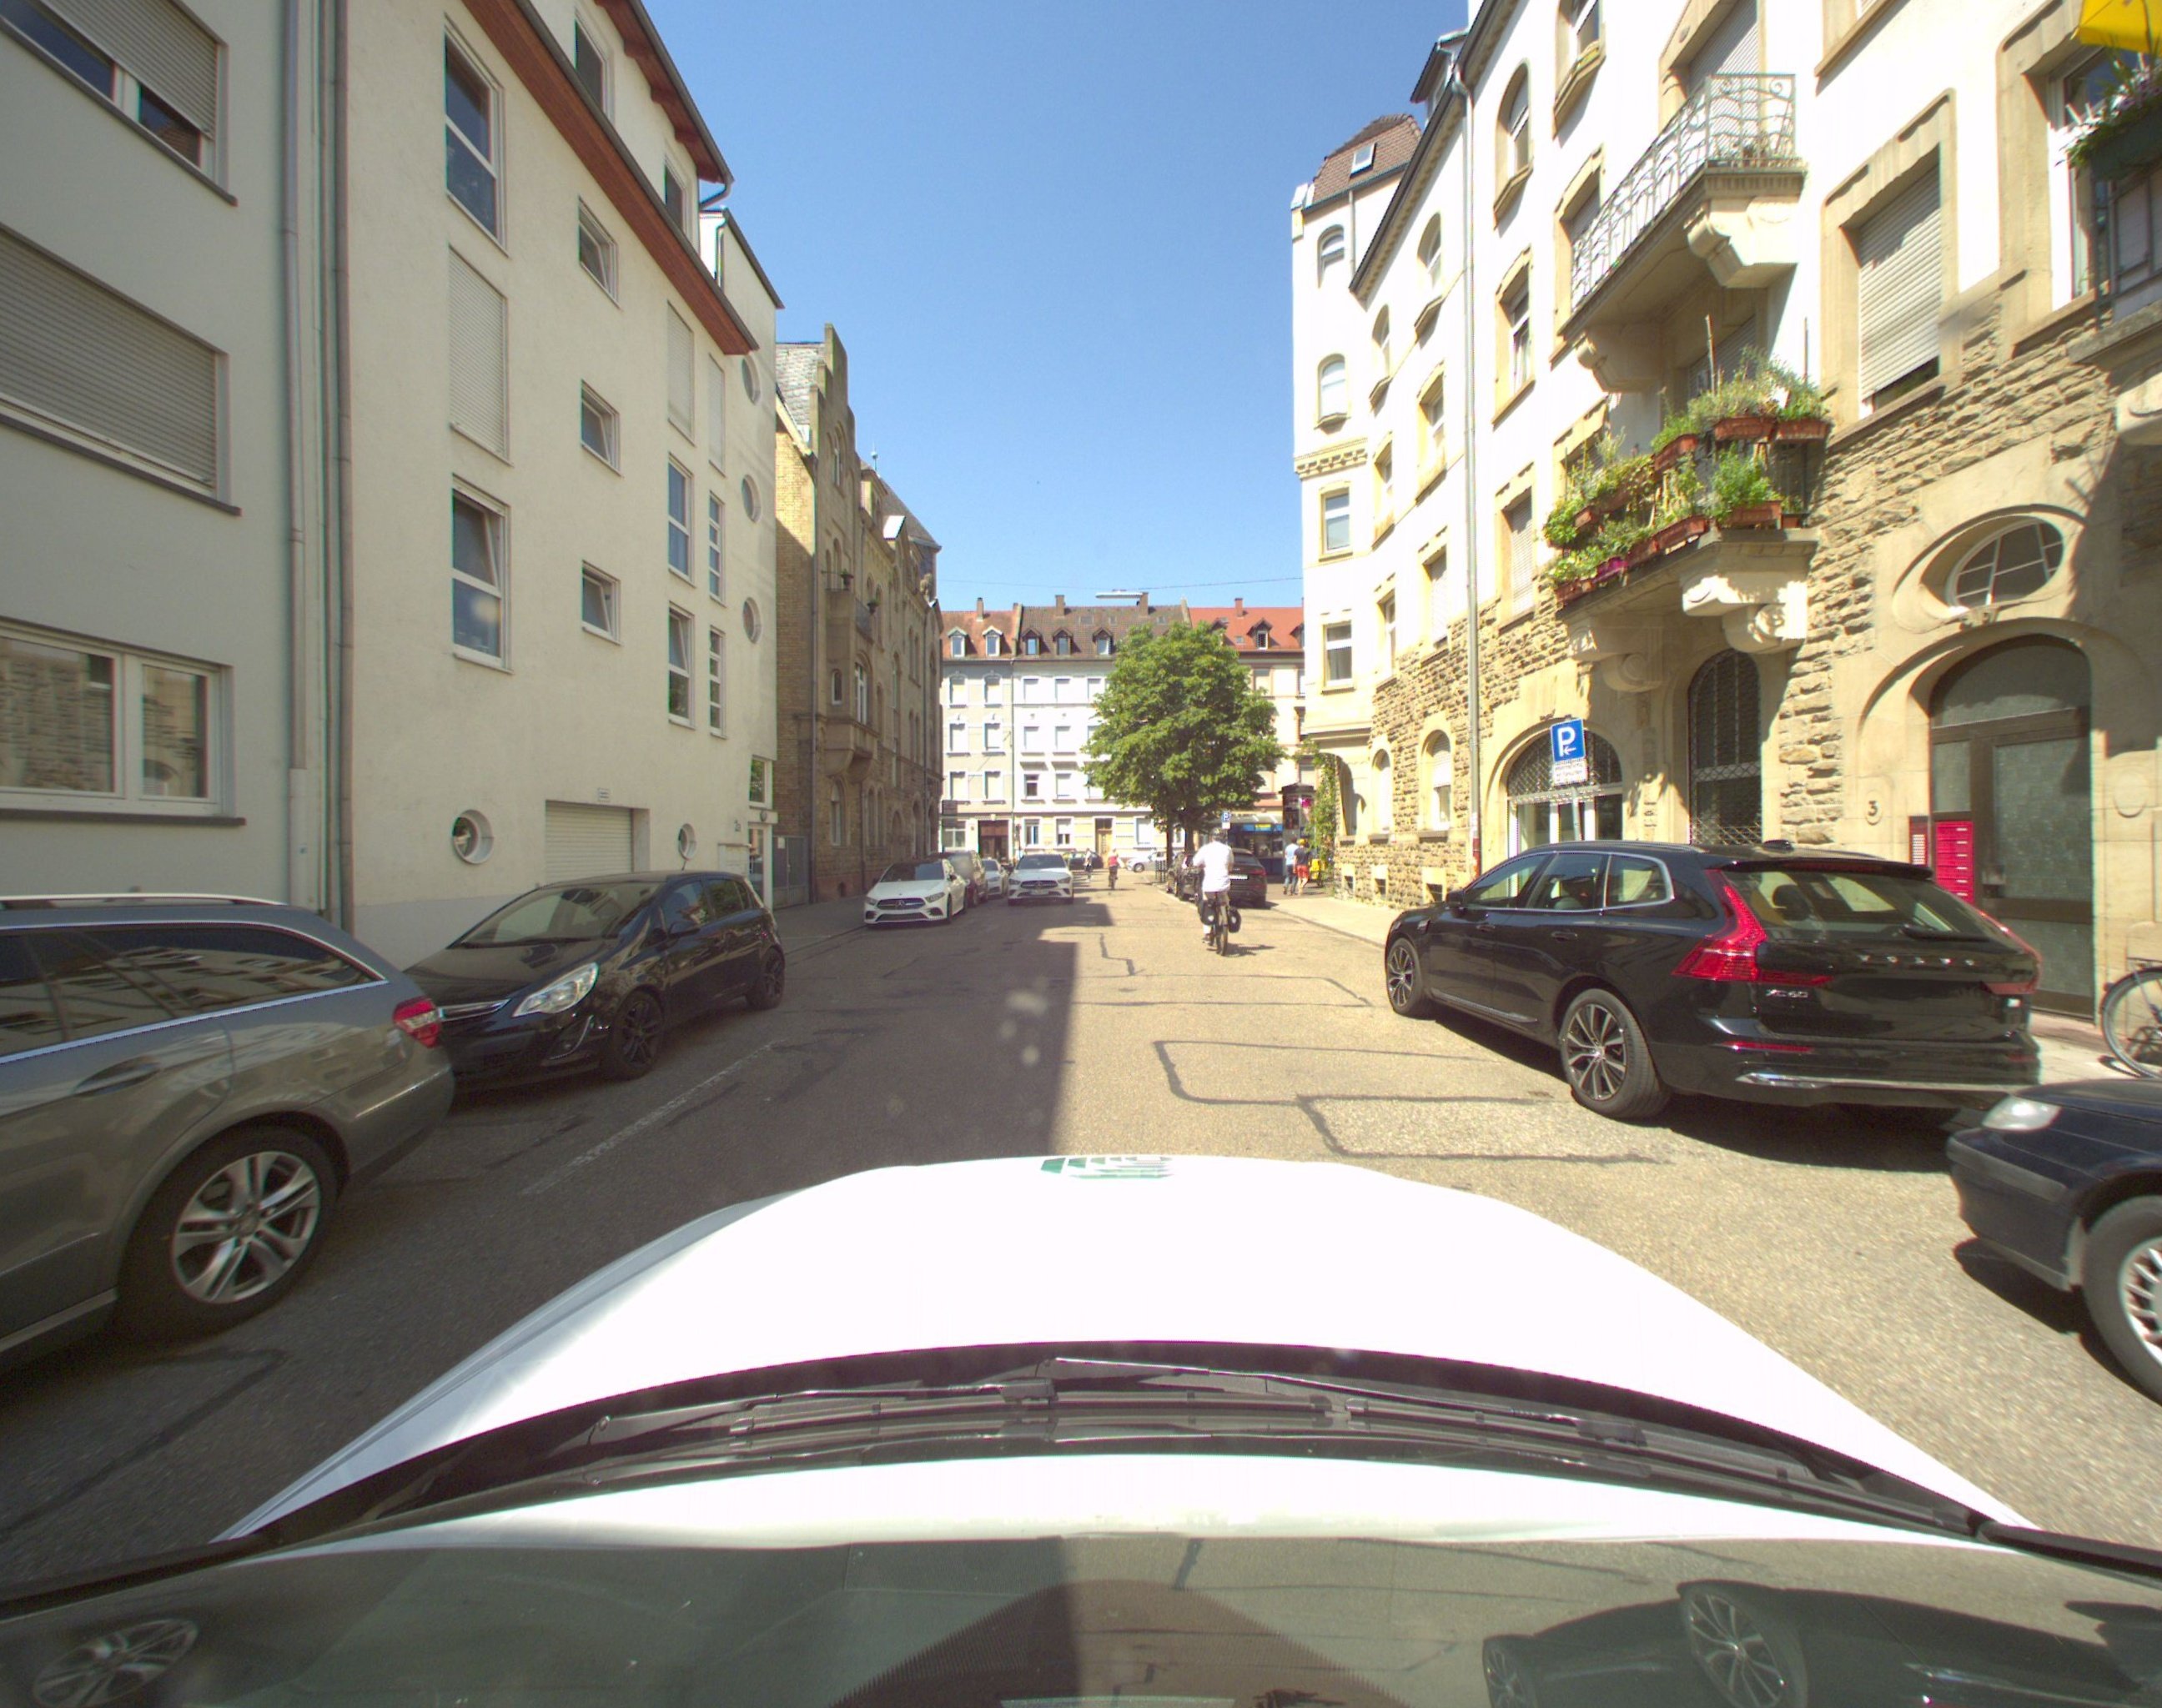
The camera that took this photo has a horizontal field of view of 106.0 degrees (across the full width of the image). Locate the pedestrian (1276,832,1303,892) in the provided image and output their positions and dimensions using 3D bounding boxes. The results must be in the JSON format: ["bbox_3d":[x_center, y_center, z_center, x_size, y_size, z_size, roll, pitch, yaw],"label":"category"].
[{"bbox_3d":[6.677,0.250,26.067,0.651,1.869,0.518,-1,-1,-9],"label":"pedestrian"}]

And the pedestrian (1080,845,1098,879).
[{"bbox_3d":[0.393,0.396,41.287,0.854,1.672,0.774,-1,0,1],"label":"pedestrian"}]

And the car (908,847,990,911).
[{"bbox_3d":[-3.688,0.650,23.403,1.667,1.583,4.051,-3,0,-1],"label":"car"}]

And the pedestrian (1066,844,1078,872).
[{"bbox_3d":[-0.602,0.291,55.452,0.724,1.853,0.683,-1,0,-9],"label":"pedestrian"}]

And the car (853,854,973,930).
[{"bbox_3d":[-3.706,0.781,18.749,1.770,1.460,4.279,-3,0,0],"label":"car"}]

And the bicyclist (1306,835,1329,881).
[{"bbox_3d":[8.646,0.135,29.775,0.671,1.647,0.666,-2,0,26],"label":"bicyclist"}]

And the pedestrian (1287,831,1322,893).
[{"bbox_3d":[6.963,0.240,25.375,0.879,1.880,0.600,-1,0,-6],"label":"pedestrian"}]

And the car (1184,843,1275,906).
[{"bbox_3d":[4.116,0.535,23.298,1.730,1.597,4.346,1,0,-1],"label":"car"}]

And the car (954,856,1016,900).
[{"bbox_3d":[-3.324,0.783,28.968,1.697,1.352,4.512,-3,0,-2],"label":"car"}]

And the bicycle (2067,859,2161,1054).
[{"bbox_3d":[6.908,0.642,4.670,0.383,1.208,1.776,-1,0,2],"label":"bicycle"}]

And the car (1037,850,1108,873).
[{"bbox_3d":[-0.571,0.487,56.754,4.843,1.437,2.000,-2,0,0],"label":"car"}]

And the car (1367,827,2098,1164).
[{"bbox_3d":[3.903,0.669,6.156,1.827,1.567,4.604,1,0,0],"label":"car"}]

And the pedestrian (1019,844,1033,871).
[{"bbox_3d":[-3.873,0.249,57.061,0.899,1.814,0.959,-1,0,-5],"label":"pedestrian"}]

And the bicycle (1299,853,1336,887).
[{"bbox_3d":[8.677,0.554,29.826,0.786,1.169,2.594,-2,0,27],"label":"bicycle"}]

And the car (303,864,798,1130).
[{"bbox_3d":[-3.928,0.901,6.939,1.562,1.491,3.894,-3,0,0],"label":"car"}]

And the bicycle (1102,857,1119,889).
[{"bbox_3d":[1.179,0.736,32.547,0.649,1.209,2.442,1,0,2],"label":"bicycle"}]

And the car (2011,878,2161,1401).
[{"bbox_3d":[3.723,0.820,0.588,1.508,1.398,3.971,3,0,-1],"label":"car"}]

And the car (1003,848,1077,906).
[{"bbox_3d":[-1.099,0.611,23.989,1.835,1.461,4.362,-3,0,0],"label":"car"}]

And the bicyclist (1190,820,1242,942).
[{"bbox_3d":[2.006,0.389,12.121,0.668,1.760,0.609,1,0,1],"label":"bicyclist"}]

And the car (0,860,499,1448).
[{"bbox_3d":[-3.686,0.835,1.577,1.651,1.518,4.671,-3,0,0],"label":"car"}]

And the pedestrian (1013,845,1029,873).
[{"bbox_3d":[-4.131,0.310,56.081,0.844,1.889,0.938,-2,0,11],"label":"pedestrian"}]

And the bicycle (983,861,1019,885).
[{"bbox_3d":[-3.499,0.810,35.573,1.522,1.008,0.366,1,0,-4],"label":"bicycle"}]

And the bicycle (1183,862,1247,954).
[{"bbox_3d":[2.006,0.760,12.504,0.649,1.228,2.442,1,0,2],"label":"bicycle"}]

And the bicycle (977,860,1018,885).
[{"bbox_3d":[-3.581,0.799,35.088,1.701,1.045,0.413,1,0,-4],"label":"bicycle"}]

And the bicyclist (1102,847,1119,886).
[{"bbox_3d":[1.176,0.485,32.464,0.668,1.533,0.609,-1,0,1],"label":"bicyclist"}]

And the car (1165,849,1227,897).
[{"bbox_3d":[3.978,0.603,28.725,1.657,1.540,4.178,1,0,1],"label":"car"}]
